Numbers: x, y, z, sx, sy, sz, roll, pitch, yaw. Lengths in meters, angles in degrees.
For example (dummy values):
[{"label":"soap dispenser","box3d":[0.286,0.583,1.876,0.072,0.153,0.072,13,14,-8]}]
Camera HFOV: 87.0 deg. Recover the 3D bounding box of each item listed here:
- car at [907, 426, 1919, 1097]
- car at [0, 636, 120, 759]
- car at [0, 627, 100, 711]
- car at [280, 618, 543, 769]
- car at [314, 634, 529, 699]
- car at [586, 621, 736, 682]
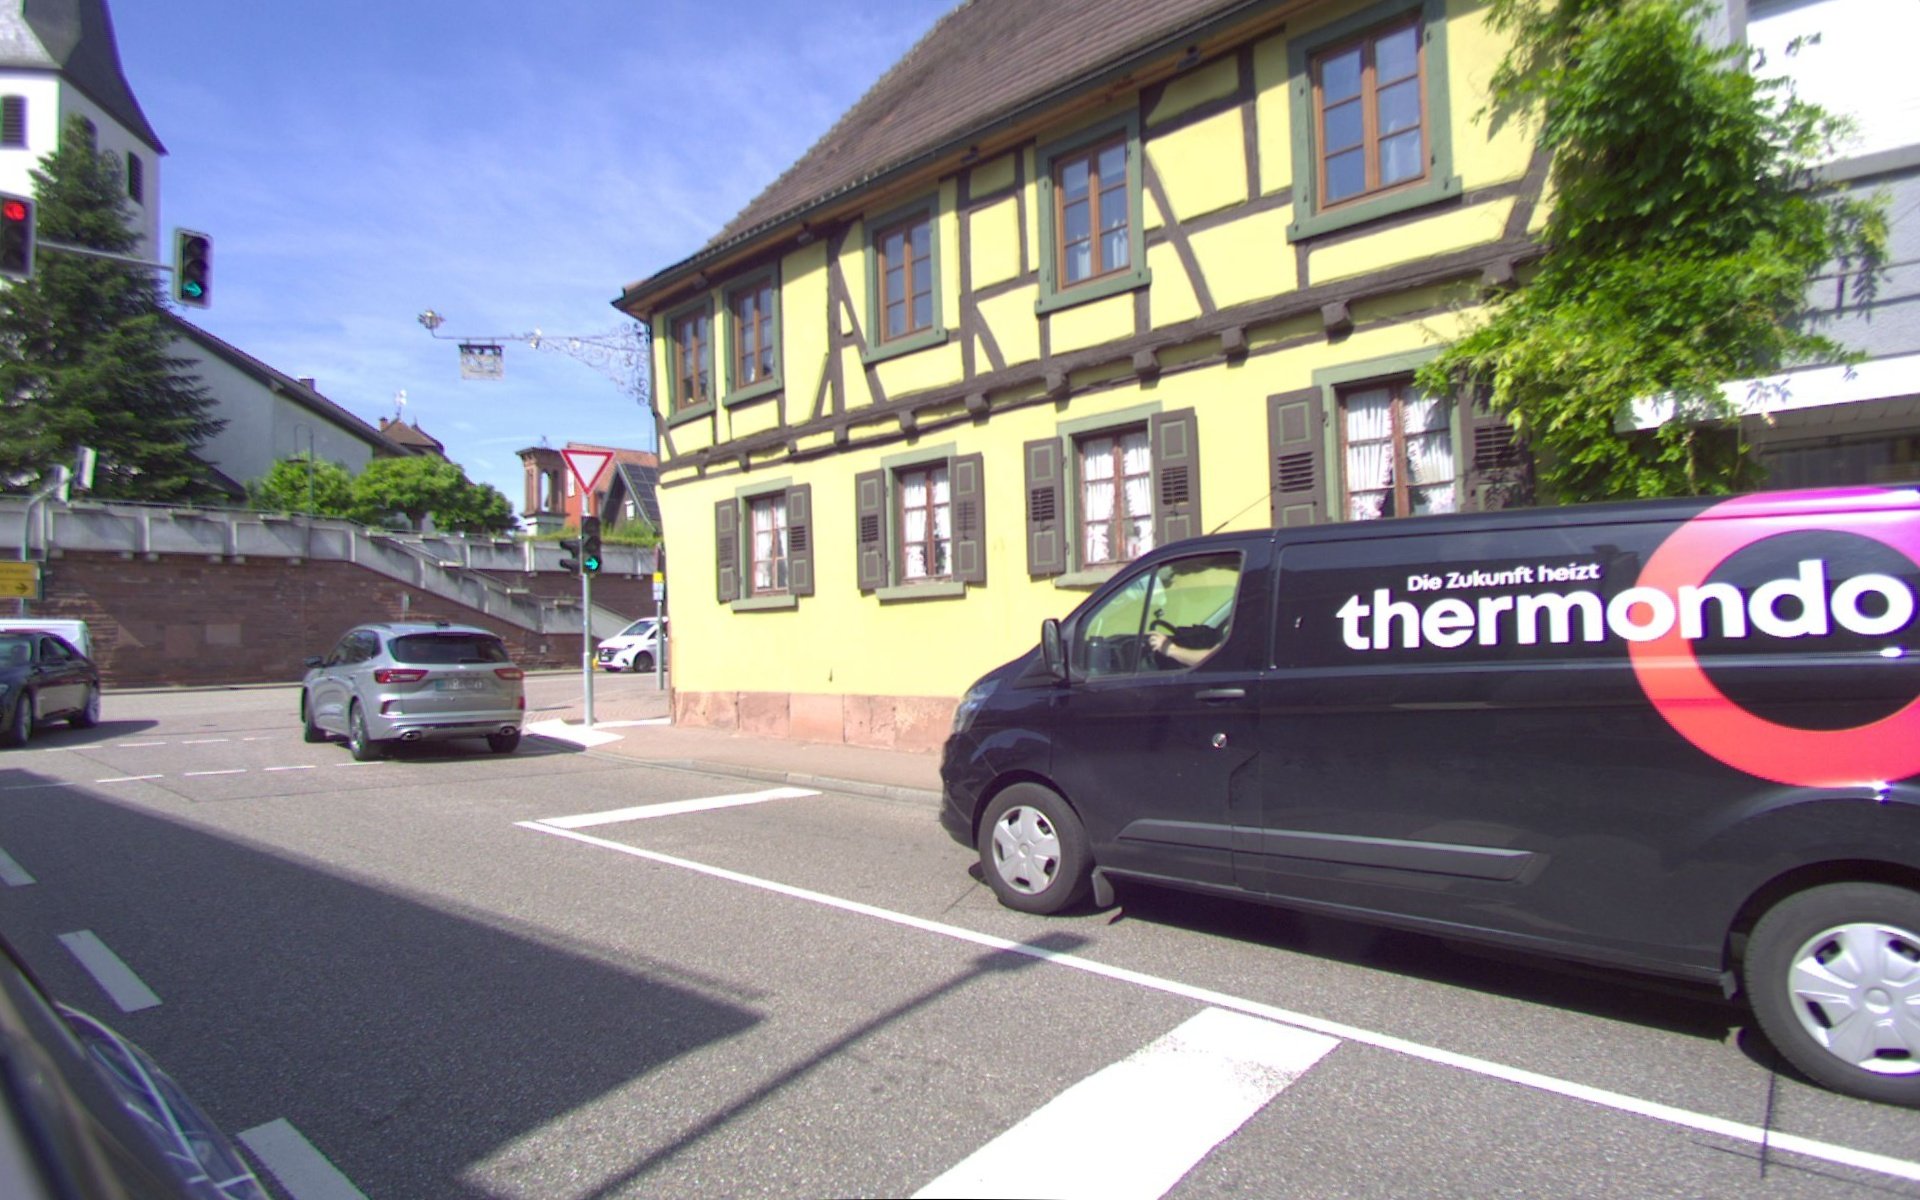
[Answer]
[{"label":"car","box3d":[2.343,0.559,4.756,5.163,1.938,2.136,-2,-5,41]},{"label":"car","box3d":[-13.009,1.225,13.458,1.795,1.445,4.262,0,-2,-25]},{"label":"car","box3d":[-24.113,1.682,24.181,2.143,1.982,5.204,-4,-3,42]},{"label":"car","box3d":[-7.231,1.146,13.123,1.735,1.622,4.430,6,-6,-45]},{"label":"car","box3d":[-14.764,1.756,28.047,2.159,1.527,4.894,-2,-1,32]},{"label":"car","box3d":[-10.256,1.718,35.041,1.823,1.921,4.903,-3,-2,36]}]
